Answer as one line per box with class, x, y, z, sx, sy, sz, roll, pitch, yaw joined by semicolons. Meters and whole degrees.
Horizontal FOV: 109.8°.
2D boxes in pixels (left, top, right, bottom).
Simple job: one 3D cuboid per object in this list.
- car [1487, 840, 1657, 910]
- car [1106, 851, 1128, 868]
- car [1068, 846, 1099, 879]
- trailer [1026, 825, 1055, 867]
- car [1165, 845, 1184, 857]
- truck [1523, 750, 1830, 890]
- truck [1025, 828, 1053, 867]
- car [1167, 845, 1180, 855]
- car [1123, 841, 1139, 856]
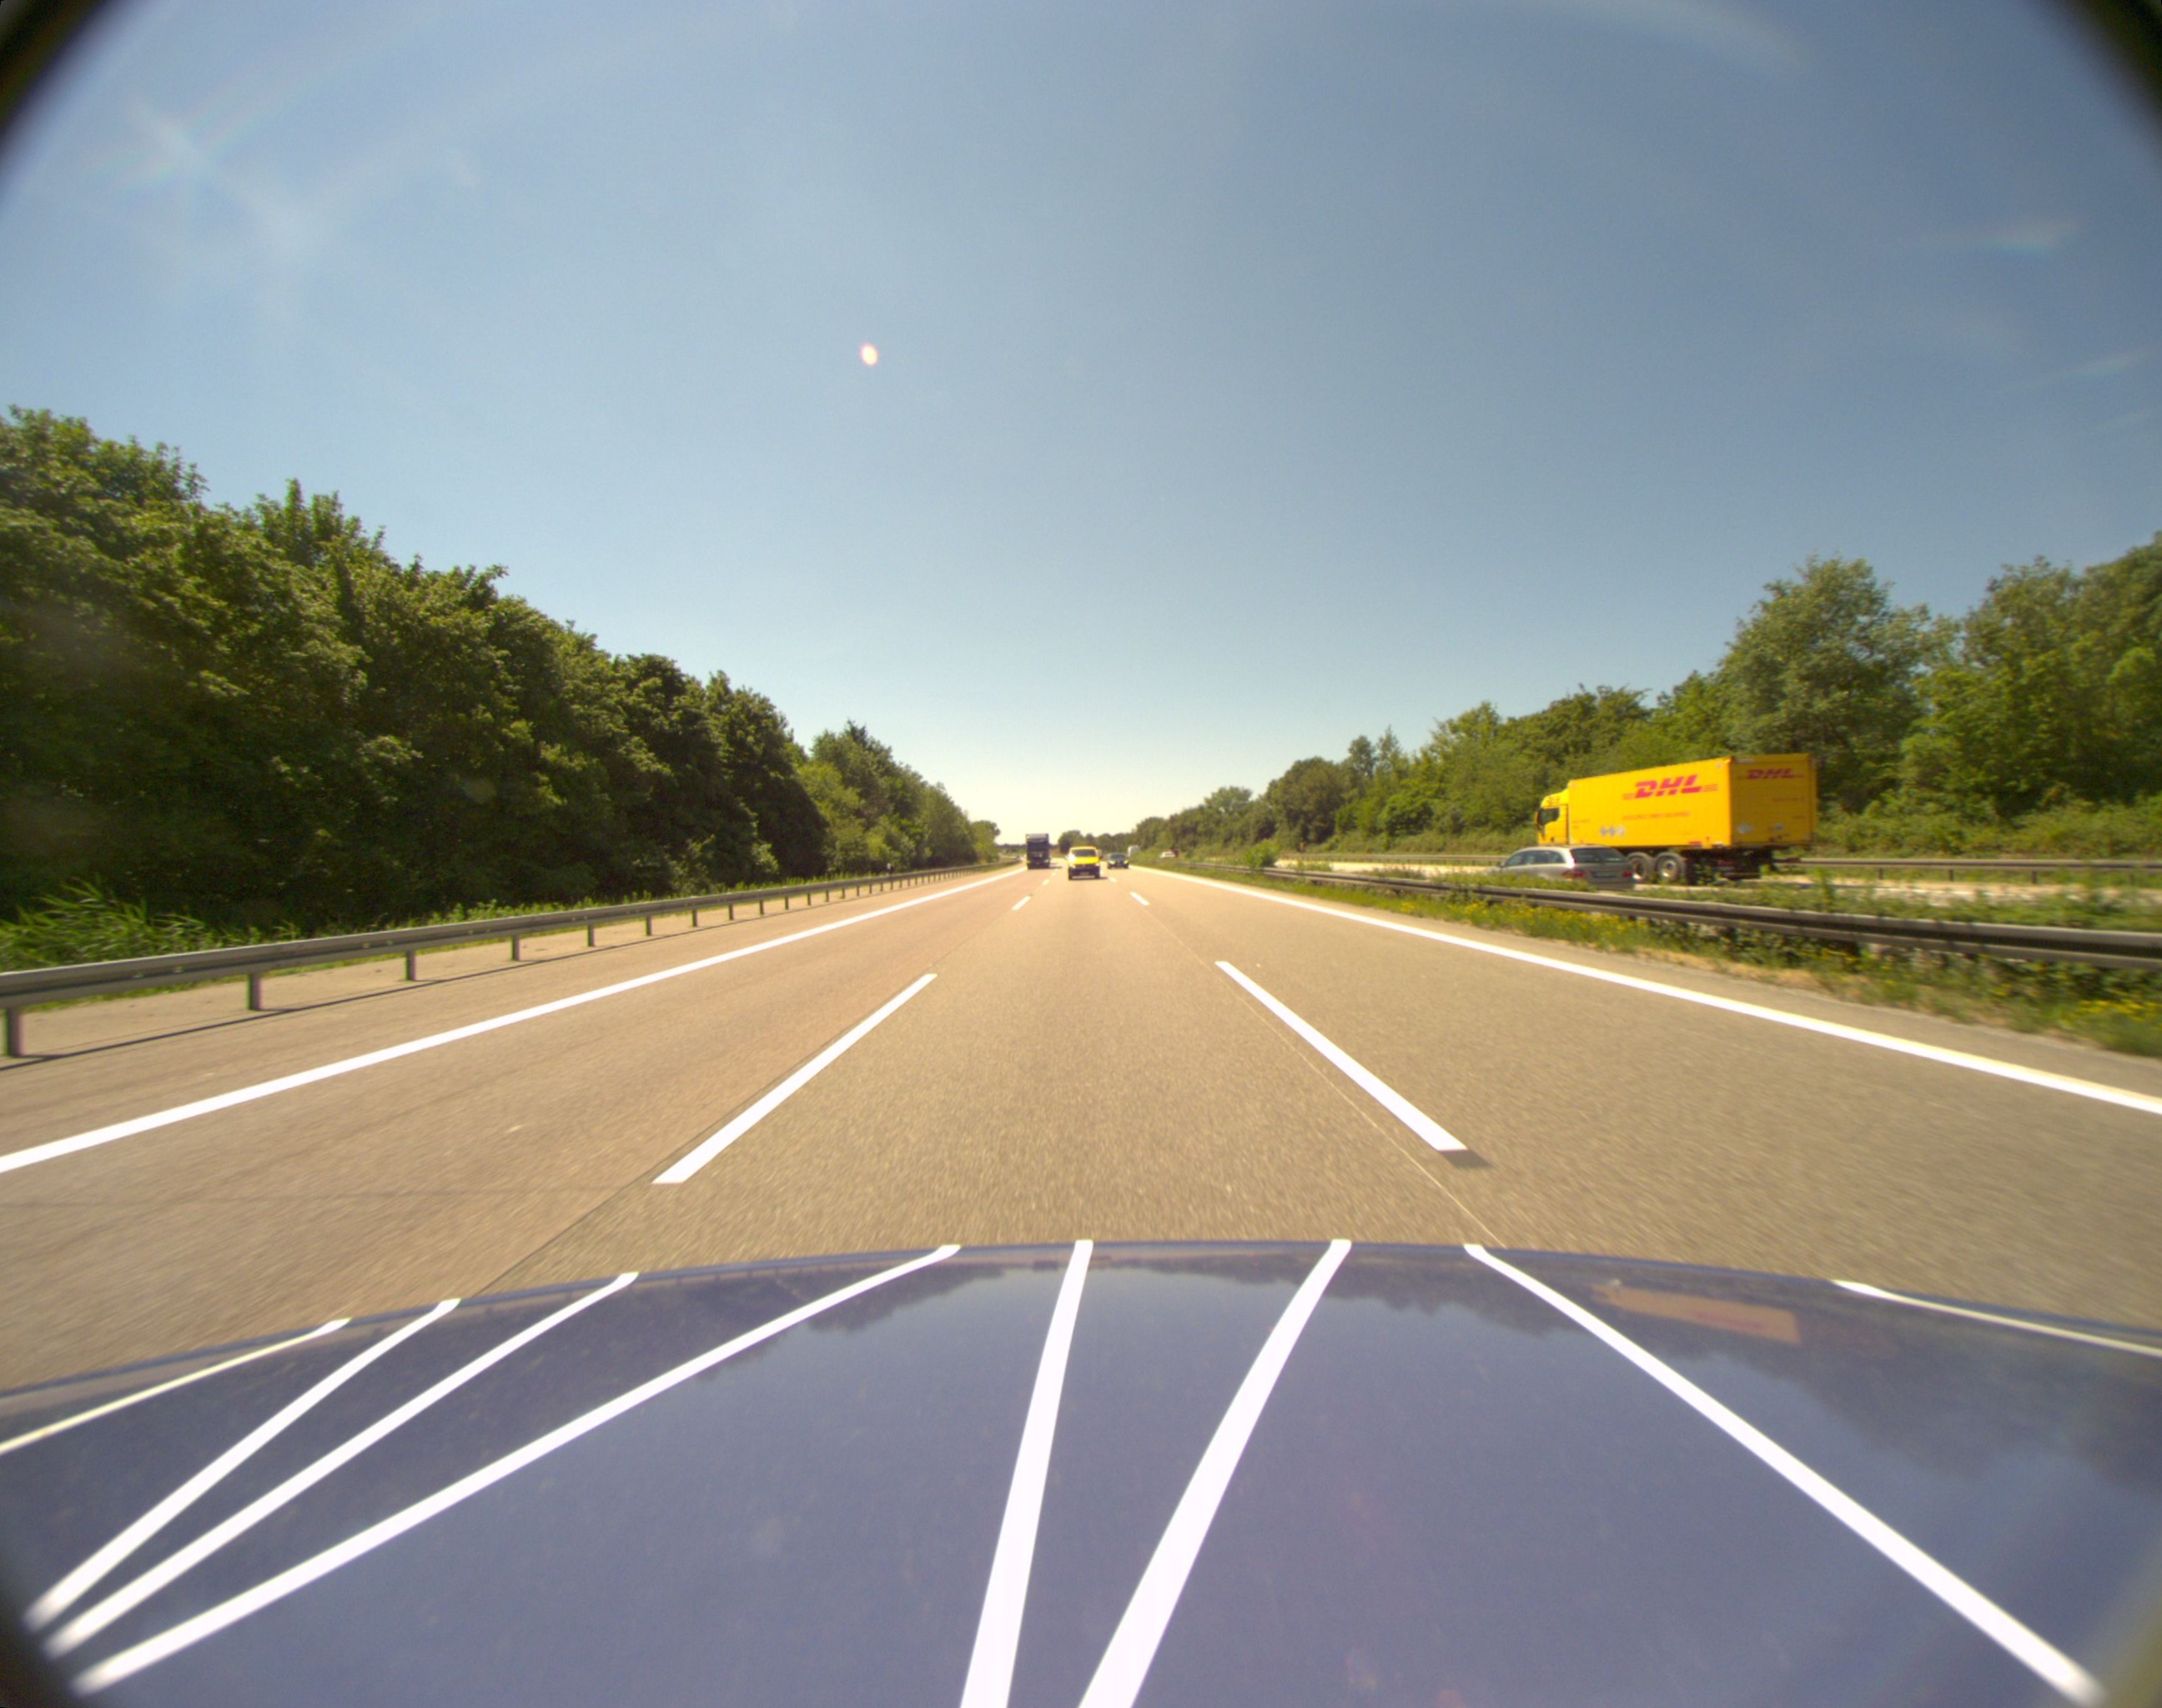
car;12.466;0.472;19.625;1.786;1.562;3.980;-2;0;0
car;3.347;0.520;71.348;1.726;1.478;3.999;-2;0;-1
car;0.107;0.452;45.494;1.777;1.882;3.832;-1;1;-1
trailer;-4.864;-0.980;93.212;2.908;4.630;13.983;-2;0;-1
car;12.476;-0.415;101.780;1.843;1.527;4.918;-2;0;-1
truck;20.597;-1.092;27.653;2.756;4.017;10.790;-2;1;0
truck;-4.707;-0.740;85.913;2.916;4.231;4.974;-2;1;-1
car;17.750;-0.739;146.207;1.708;1.766;4.766;-2;0;-2
car;9.641;-1.033;146.897;2.094;2.762;5.826;-2;0;-4
